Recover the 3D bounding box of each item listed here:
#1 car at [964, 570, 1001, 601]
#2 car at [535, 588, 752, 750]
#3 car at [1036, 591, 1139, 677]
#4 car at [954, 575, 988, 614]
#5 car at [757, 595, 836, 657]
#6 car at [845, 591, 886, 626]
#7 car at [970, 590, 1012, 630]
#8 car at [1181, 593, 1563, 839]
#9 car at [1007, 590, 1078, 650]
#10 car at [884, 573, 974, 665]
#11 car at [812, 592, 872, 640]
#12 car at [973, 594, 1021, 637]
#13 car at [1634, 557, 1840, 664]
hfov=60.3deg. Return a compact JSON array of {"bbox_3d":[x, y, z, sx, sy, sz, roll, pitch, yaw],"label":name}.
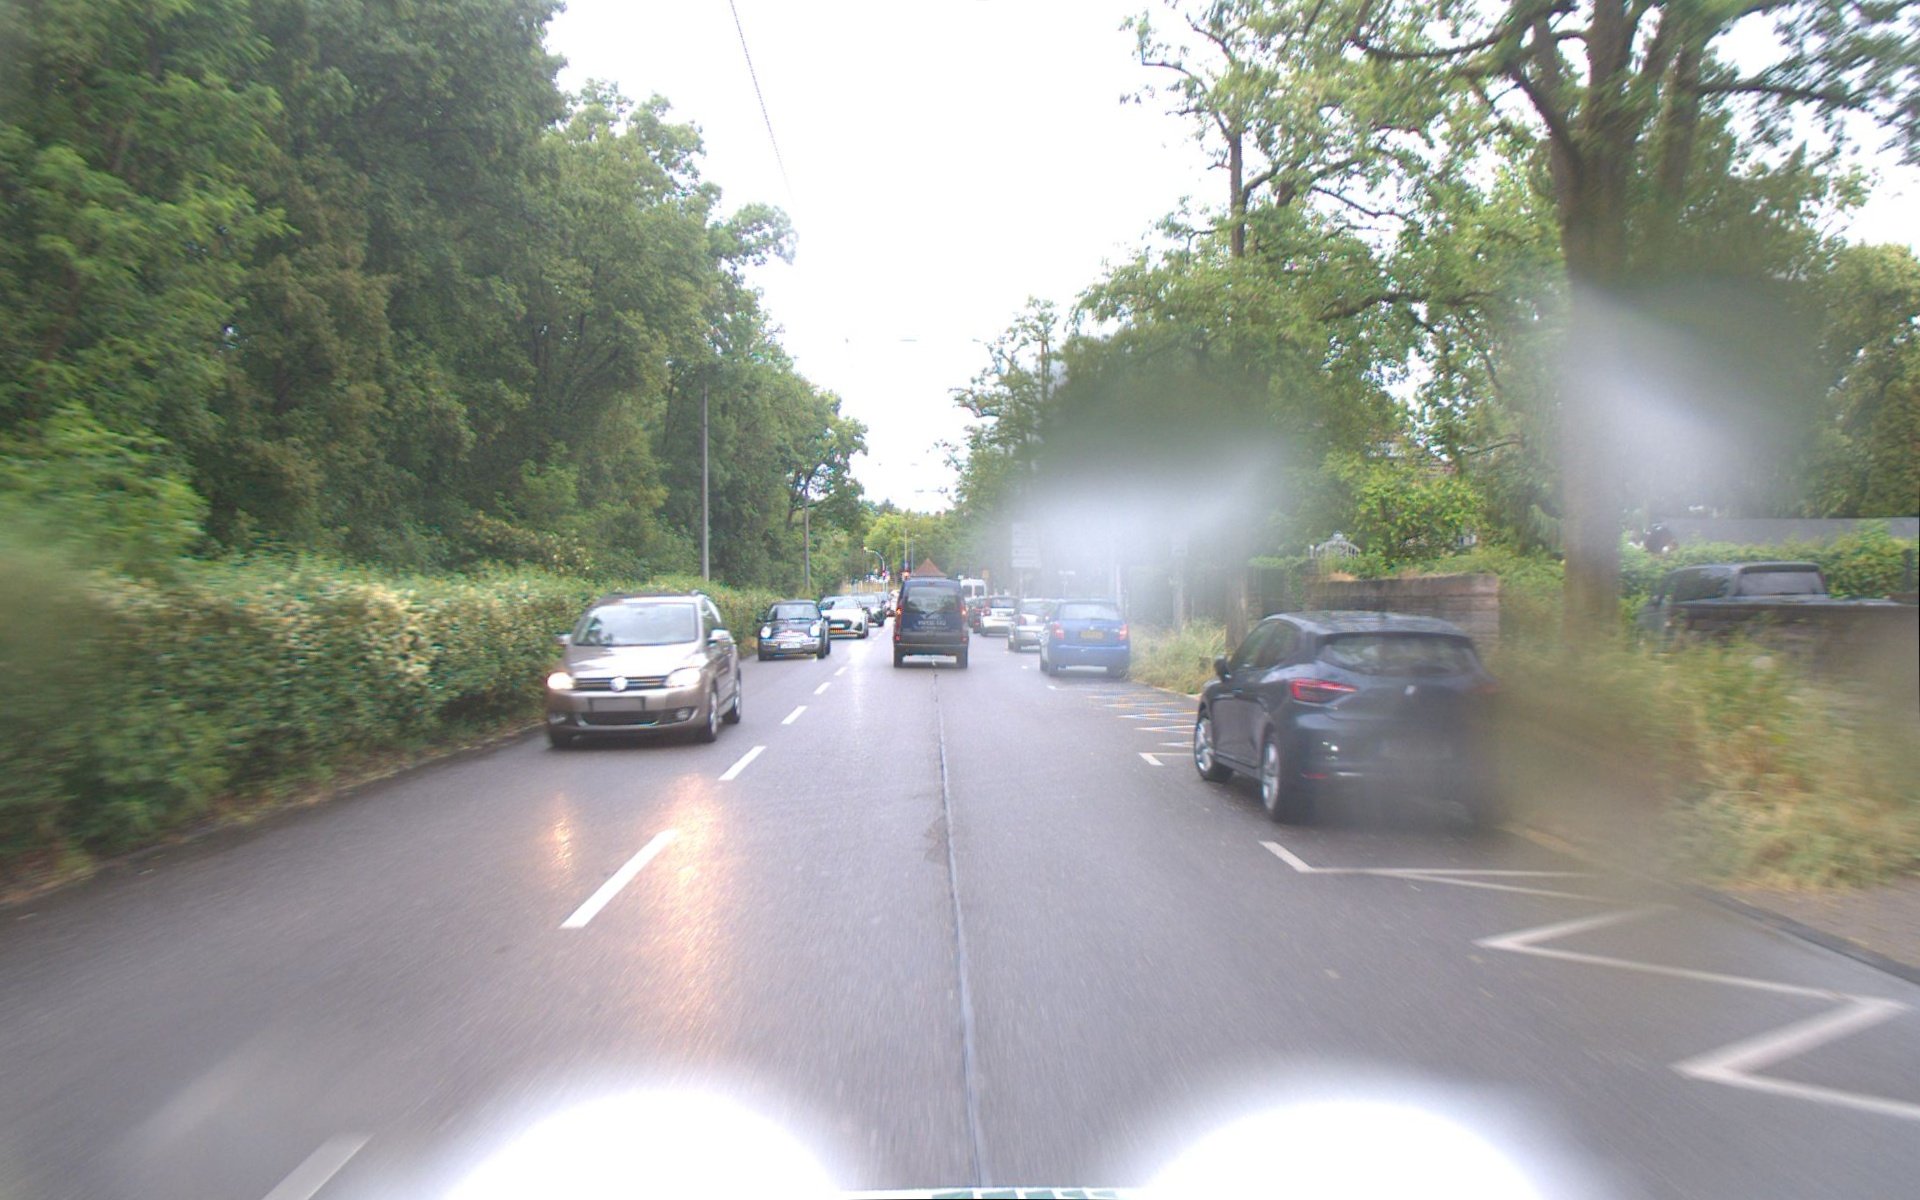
[{"bbox_3d":[1.145,-0.741,85.237,1.664,1.551,3.866,1,0,-2],"label":"car"},{"bbox_3d":[-3.386,0.668,18.390,1.695,1.518,3.999,-1,1,-1],"label":"car"},{"bbox_3d":[2.511,0.635,33.378,1.686,1.532,4.050,1,1,-1],"label":"car"},{"bbox_3d":[0.696,-0.355,110.351,2.160,2.492,4.728,0,0,-1],"label":"car"},{"bbox_3d":[-4.079,0.612,41.671,1.652,1.379,3.723,-2,1,-1],"label":"car"},{"bbox_3d":[-4.649,0.377,81.841,1.767,1.574,4.431,-2,1,-1],"label":"car"},{"bbox_3d":[1.307,0.396,68.839,1.663,1.551,3.868,1,1,1],"label":"car"},{"bbox_3d":[2.937,0.747,12.680,1.706,1.505,3.961,1,1,-3],"label":"car"},{"bbox_3d":[2.273,0.529,46.262,1.586,1.534,3.833,1,1,-3],"label":"car"},{"bbox_3d":[-0.724,0.369,35.920,1.732,1.862,3.539,1,1,-4],"label":"car"},{"bbox_3d":[-4.203,0.540,59.329,1.818,1.494,4.446,-2,1,-1],"label":"car"},{"bbox_3d":[1.396,0.569,62.813,1.600,1.536,2.956,1,1,-3],"label":"car"},{"bbox_3d":[14.263,0.171,30.645,1.792,1.842,4.254,0,0,-1],"label":"car"}]
